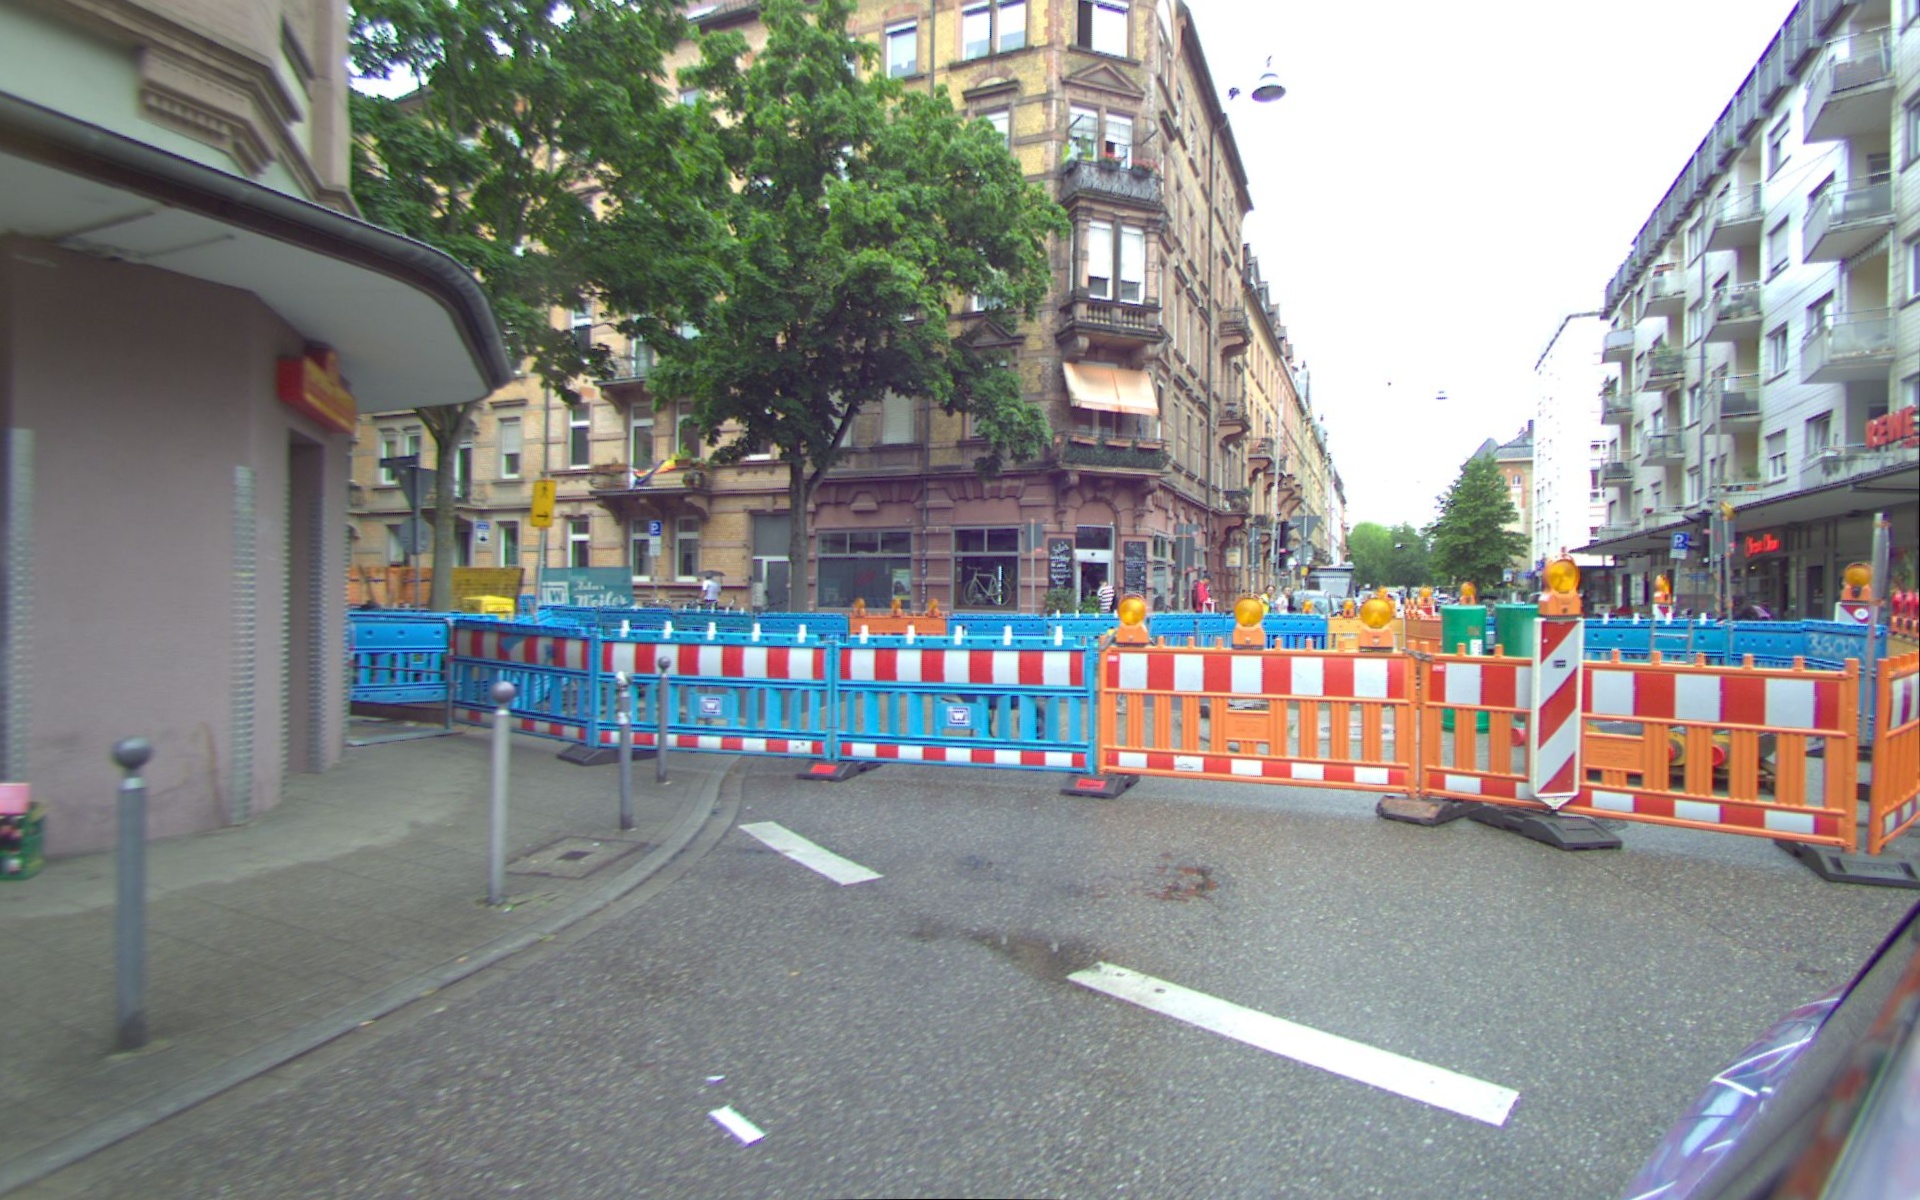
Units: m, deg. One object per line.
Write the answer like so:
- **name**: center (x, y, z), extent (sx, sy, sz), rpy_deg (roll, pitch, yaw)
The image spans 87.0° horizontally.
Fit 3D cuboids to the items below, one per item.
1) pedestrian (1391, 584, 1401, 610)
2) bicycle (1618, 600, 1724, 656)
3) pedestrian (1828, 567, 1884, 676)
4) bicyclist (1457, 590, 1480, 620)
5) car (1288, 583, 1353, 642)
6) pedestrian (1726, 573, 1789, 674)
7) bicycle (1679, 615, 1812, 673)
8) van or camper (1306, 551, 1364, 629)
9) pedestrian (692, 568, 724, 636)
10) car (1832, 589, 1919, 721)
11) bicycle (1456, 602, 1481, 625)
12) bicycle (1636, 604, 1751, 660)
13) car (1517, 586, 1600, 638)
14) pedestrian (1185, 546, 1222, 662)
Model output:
- **pedestrian**: center (35.008, -0.266, 81.270), extent (0.760, 2.039, 0.856), rpy_deg (0, 1, 23)
- **bicycle**: center (17.334, 0.690, 24.727), extent (2.006, 1.295, 0.545), rpy_deg (-2, -1, 30)
- **pedestrian**: center (15.730, 0.367, 17.777), extent (0.600, 1.871, 0.760), rpy_deg (0, 0, 32)
- **bicyclist**: center (27.435, 0.268, 54.624), extent (0.982, 1.620, 1.252), rpy_deg (0, 0, 22)
- **car**: center (11.832, 0.376, 33.301), extent (1.878, 1.812, 3.975), rpy_deg (0, 0, 19)
- **pedestrian**: center (15.233, 0.436, 19.350), extent (0.856, 1.871, 0.760), rpy_deg (0, 0, 32)
- **bicycle**: center (14.997, 0.836, 19.361), extent (1.864, 1.047, 0.660), rpy_deg (-2, -1, 10)
- **van or camper**: center (17.676, -0.463, 47.542), extent (2.384, 3.369, 7.021), rpy_deg (0, 0, 22)
- **pedestrian**: center (-7.288, 0.051, 29.302), extent (0.633, 1.943, 0.668), rpy_deg (0, 0, 24)
- **car**: center (11.042, 0.627, 9.579), extent (1.830, 1.416, 4.968), rpy_deg (1, 1, 9)
- **bicycle**: center (27.430, 0.695, 54.632), extent (0.982, 1.170, 2.855), rpy_deg (0, 0, 22)
- **bicycle**: center (16.569, 0.730, 22.923), extent (2.006, 1.211, 0.545), rpy_deg (-2, -1, 30)
- **car**: center (22.283, 0.425, 37.809), extent (1.878, 1.812, 3.975), rpy_deg (0, 0, 19)
- **pedestrian**: center (5.649, 0.087, 23.449), extent (0.681, 2.641, 0.541), rpy_deg (0, 0, -8)
